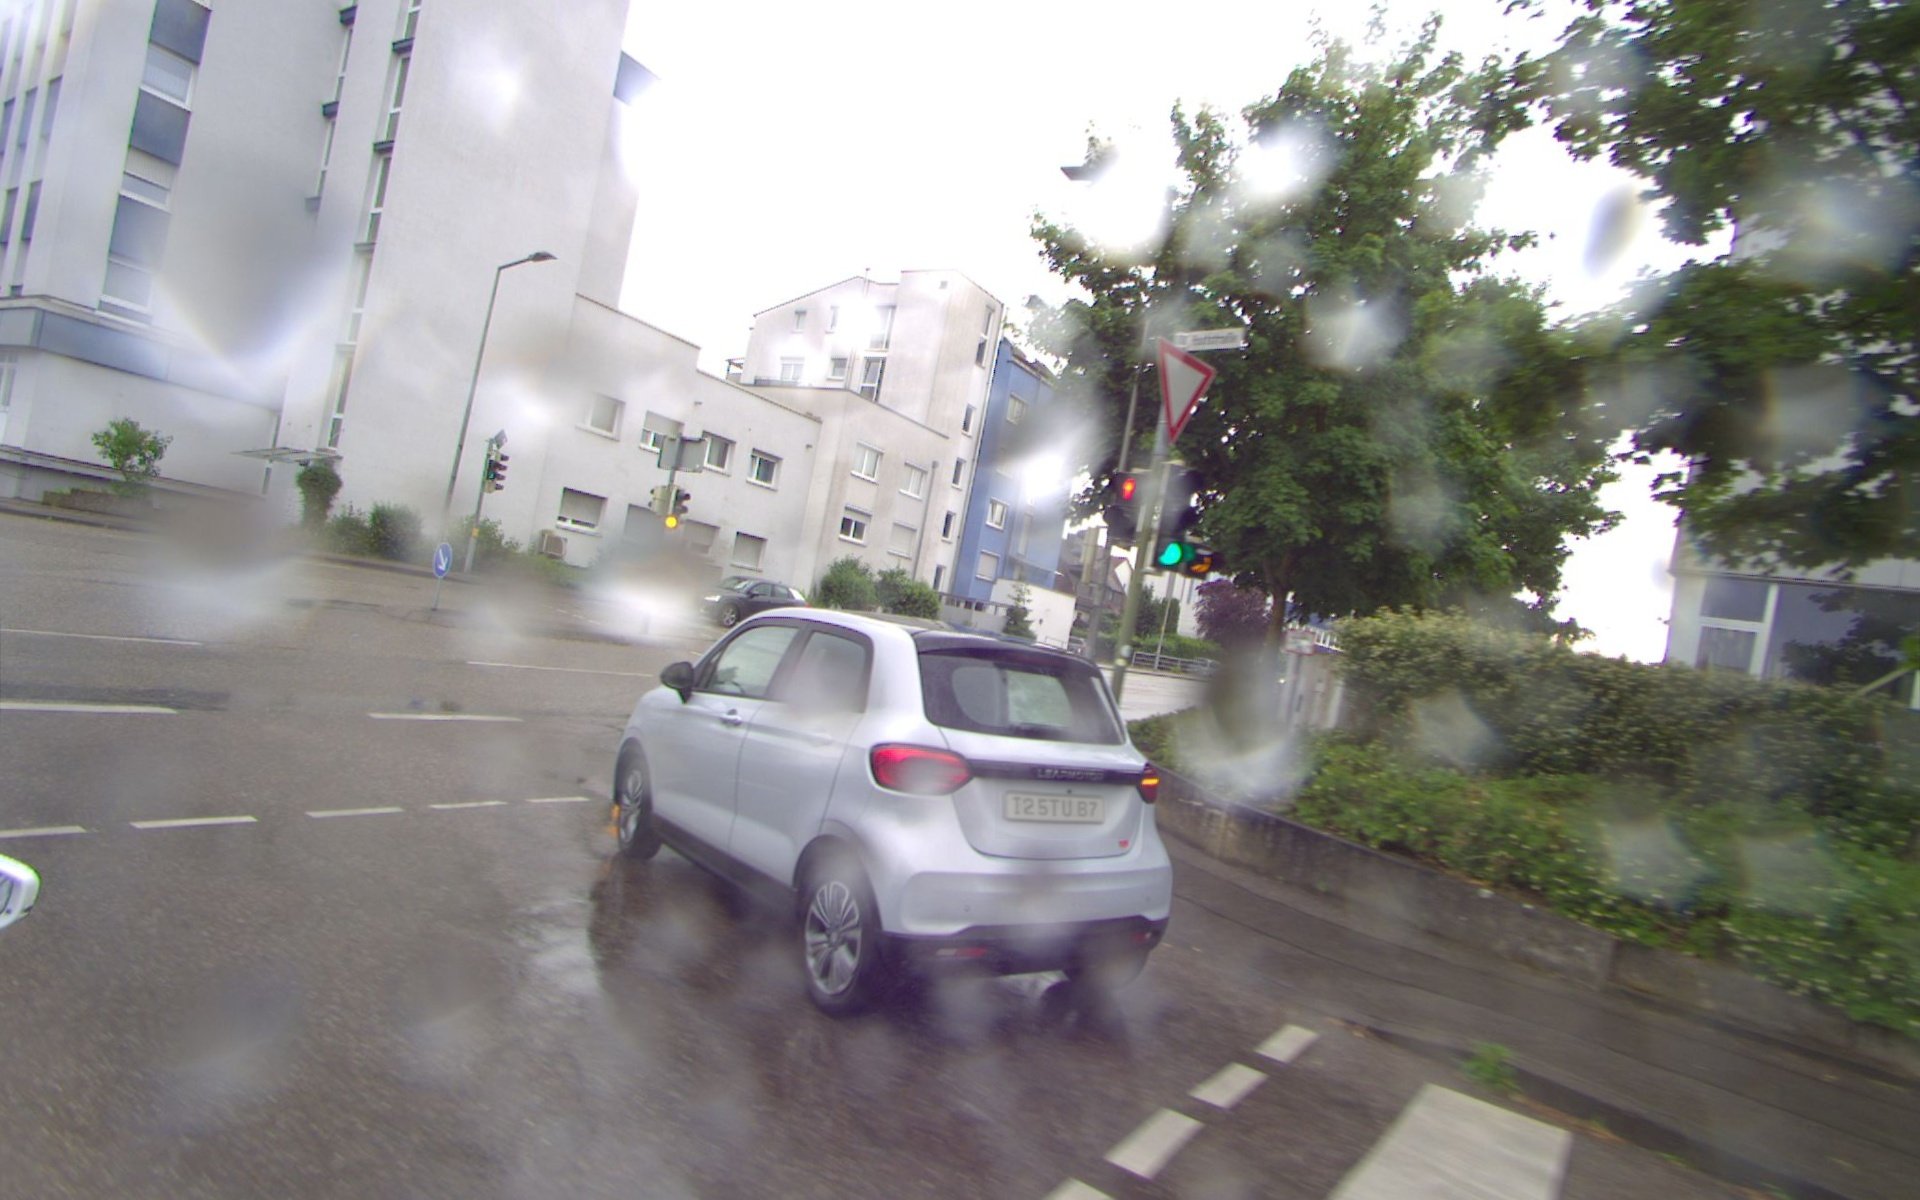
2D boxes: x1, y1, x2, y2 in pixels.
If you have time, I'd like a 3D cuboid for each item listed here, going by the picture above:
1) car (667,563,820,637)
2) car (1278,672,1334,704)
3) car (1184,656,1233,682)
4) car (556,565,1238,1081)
[{"bbox_3d":[-6.391,0.049,30.014,1.717,1.503,4.134,11,1,40],"label":"car"},{"bbox_3d":[22.028,5.610,64.013,1.731,1.495,3.983,9,-1,43],"label":"car"},{"bbox_3d":[17.426,4.861,70.432,1.636,1.301,3.868,9,-2,41],"label":"car"},{"bbox_3d":[-0.694,0.811,5.450,1.681,1.573,3.867,9,-1,-37],"label":"car"}]
